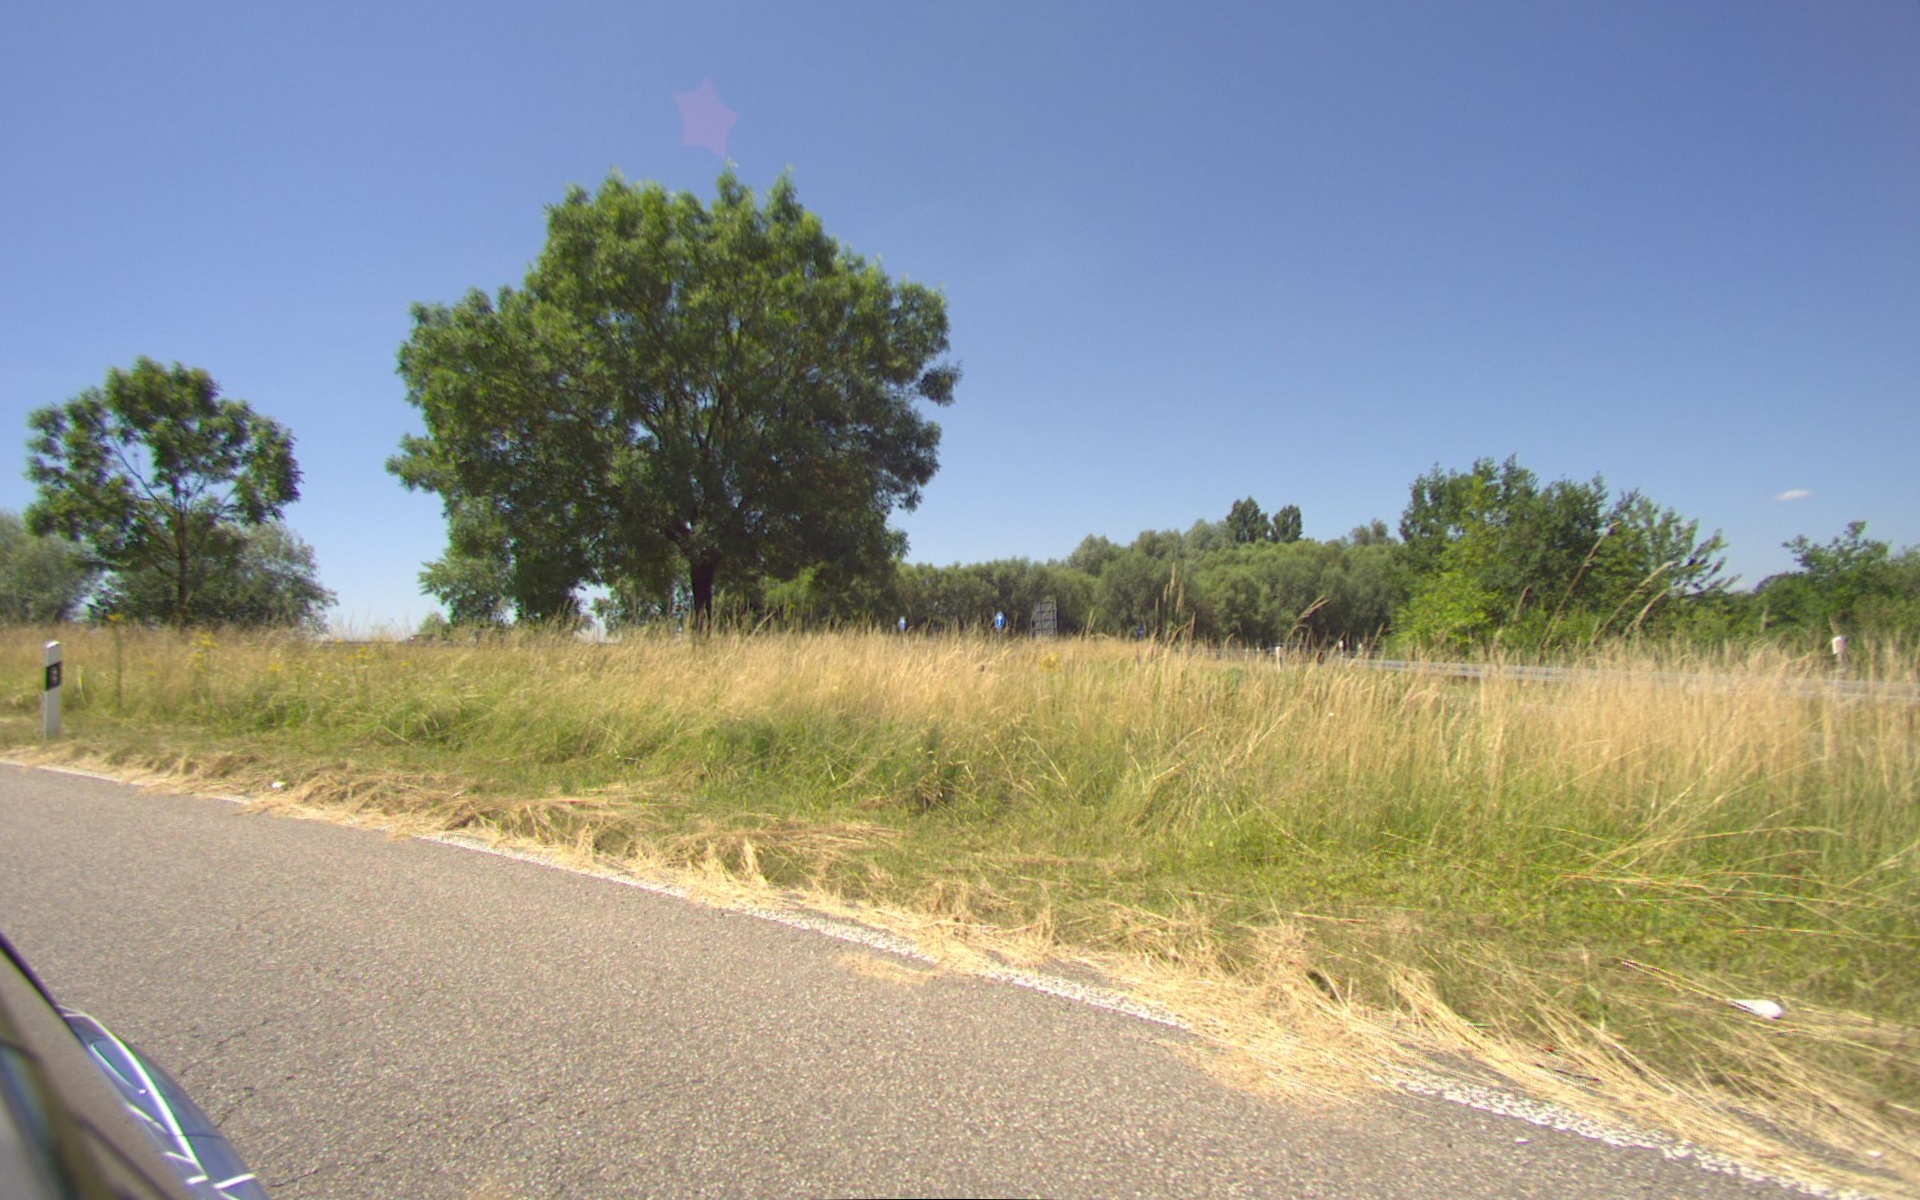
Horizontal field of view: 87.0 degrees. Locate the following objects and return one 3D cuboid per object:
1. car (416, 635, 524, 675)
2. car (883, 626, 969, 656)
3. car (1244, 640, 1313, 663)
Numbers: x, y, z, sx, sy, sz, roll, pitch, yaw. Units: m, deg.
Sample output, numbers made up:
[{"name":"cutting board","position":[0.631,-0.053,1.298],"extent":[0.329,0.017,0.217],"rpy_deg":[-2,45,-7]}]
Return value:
[{"name":"car","position":[-21.318,2.342,44.080],"extent":[3.935,1.623,1.835],"rpy_deg":[1,-2,-38]},{"name":"car","position":[-1.877,2.304,57.000],"extent":[4.569,1.585,2.004],"rpy_deg":[2,-3,-38]},{"name":"car","position":[21.383,3.446,67.889],"extent":[4.923,1.492,1.895],"rpy_deg":[2,-4,-37]}]
